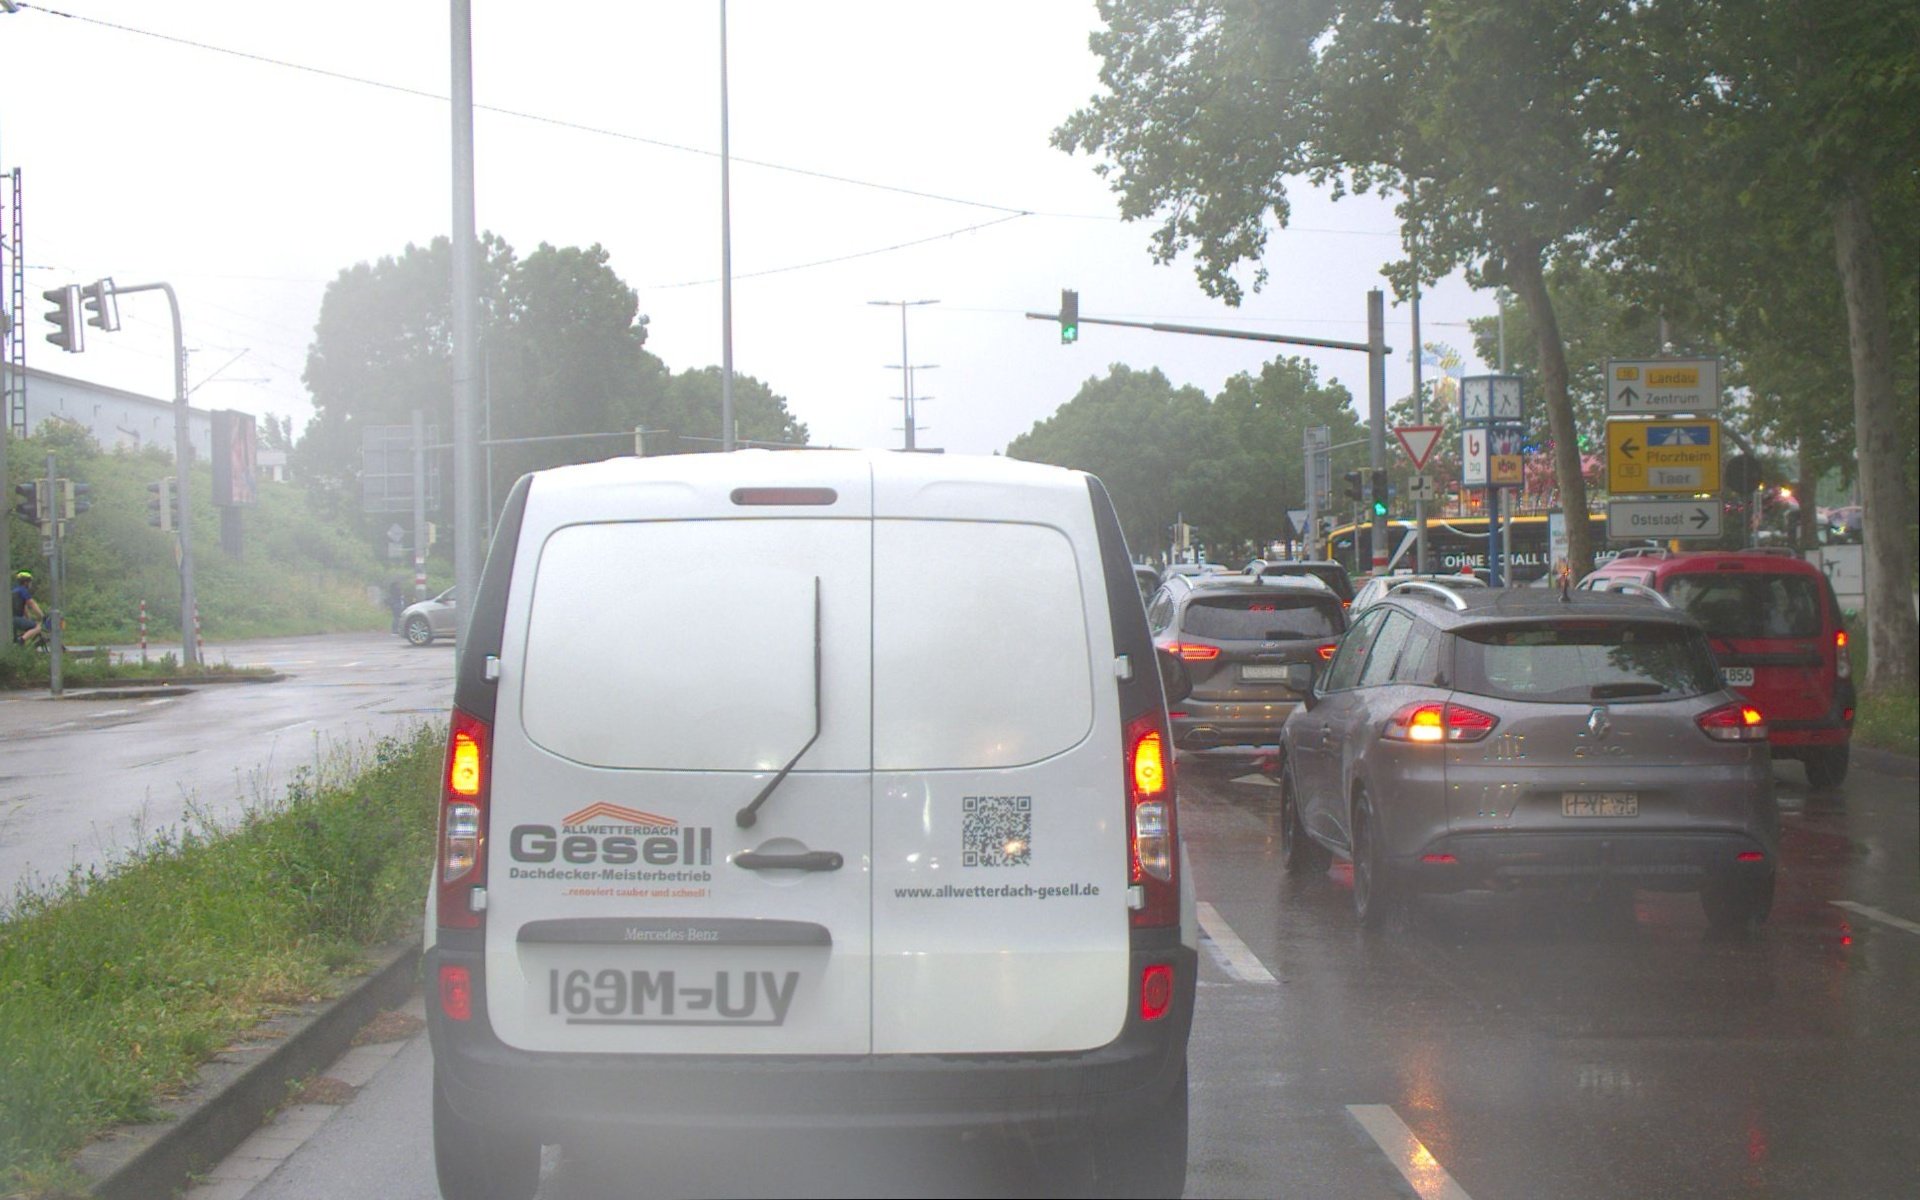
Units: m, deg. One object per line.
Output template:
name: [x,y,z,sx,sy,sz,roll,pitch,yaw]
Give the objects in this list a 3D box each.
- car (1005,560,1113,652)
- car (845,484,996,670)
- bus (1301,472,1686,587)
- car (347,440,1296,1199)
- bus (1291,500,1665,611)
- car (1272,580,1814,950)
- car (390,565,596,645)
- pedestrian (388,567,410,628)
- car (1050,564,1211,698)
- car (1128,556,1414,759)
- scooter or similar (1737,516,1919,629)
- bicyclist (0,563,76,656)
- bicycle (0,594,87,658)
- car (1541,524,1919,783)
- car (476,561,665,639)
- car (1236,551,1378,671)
car: [1.803,0.093,63.781,1.854,1.644,3.843,0,0,-1]
car: [-0.507,-0.317,44.355,1.854,2.288,3.843,0,1,-1]
bus: [17.075,-2.265,110.411,11.970,3.411,2.315,-1,1,0]
car: [-0.314,0.515,9.537,1.993,1.770,4.585,0,1,-1]
bus: [17.190,-1.502,114.390,11.969,3.411,2.483,-1,1,-3]
car: [2.469,0.640,15.452,1.683,1.403,3.843,1,1,-1]
car: [-9.699,0.103,71.366,3.822,1.538,1.996,-2,0,33]
pedestrian: [-15.599,-0.071,95.611,0.543,1.710,0.563,1,0,-4]
car: [2.177,0.363,44.776,1.854,1.644,3.843,0,1,-1]
car: [2.363,0.395,26.982,1.854,1.455,3.843,0,1,-1]
scooter or similar: [20.073,-0.628,76.583,1.890,2.437,5.316,-1,1,-41]
bicyclist: [-14.762,0.150,55.004,1.040,1.445,0.729,-2,1,-25]
bicycle: [-14.797,0.399,55.099,1.040,0.949,2.889,-2,1,-25]
car: [5.436,0.355,24.776,1.710,1.688,4.272,1,0,-1]
car: [-9.241,-0.008,81.586,3.993,1.711,1.997,-2,0,28]
car: [5.166,0.138,51.563,1.708,1.722,3.843,0,1,-1]
